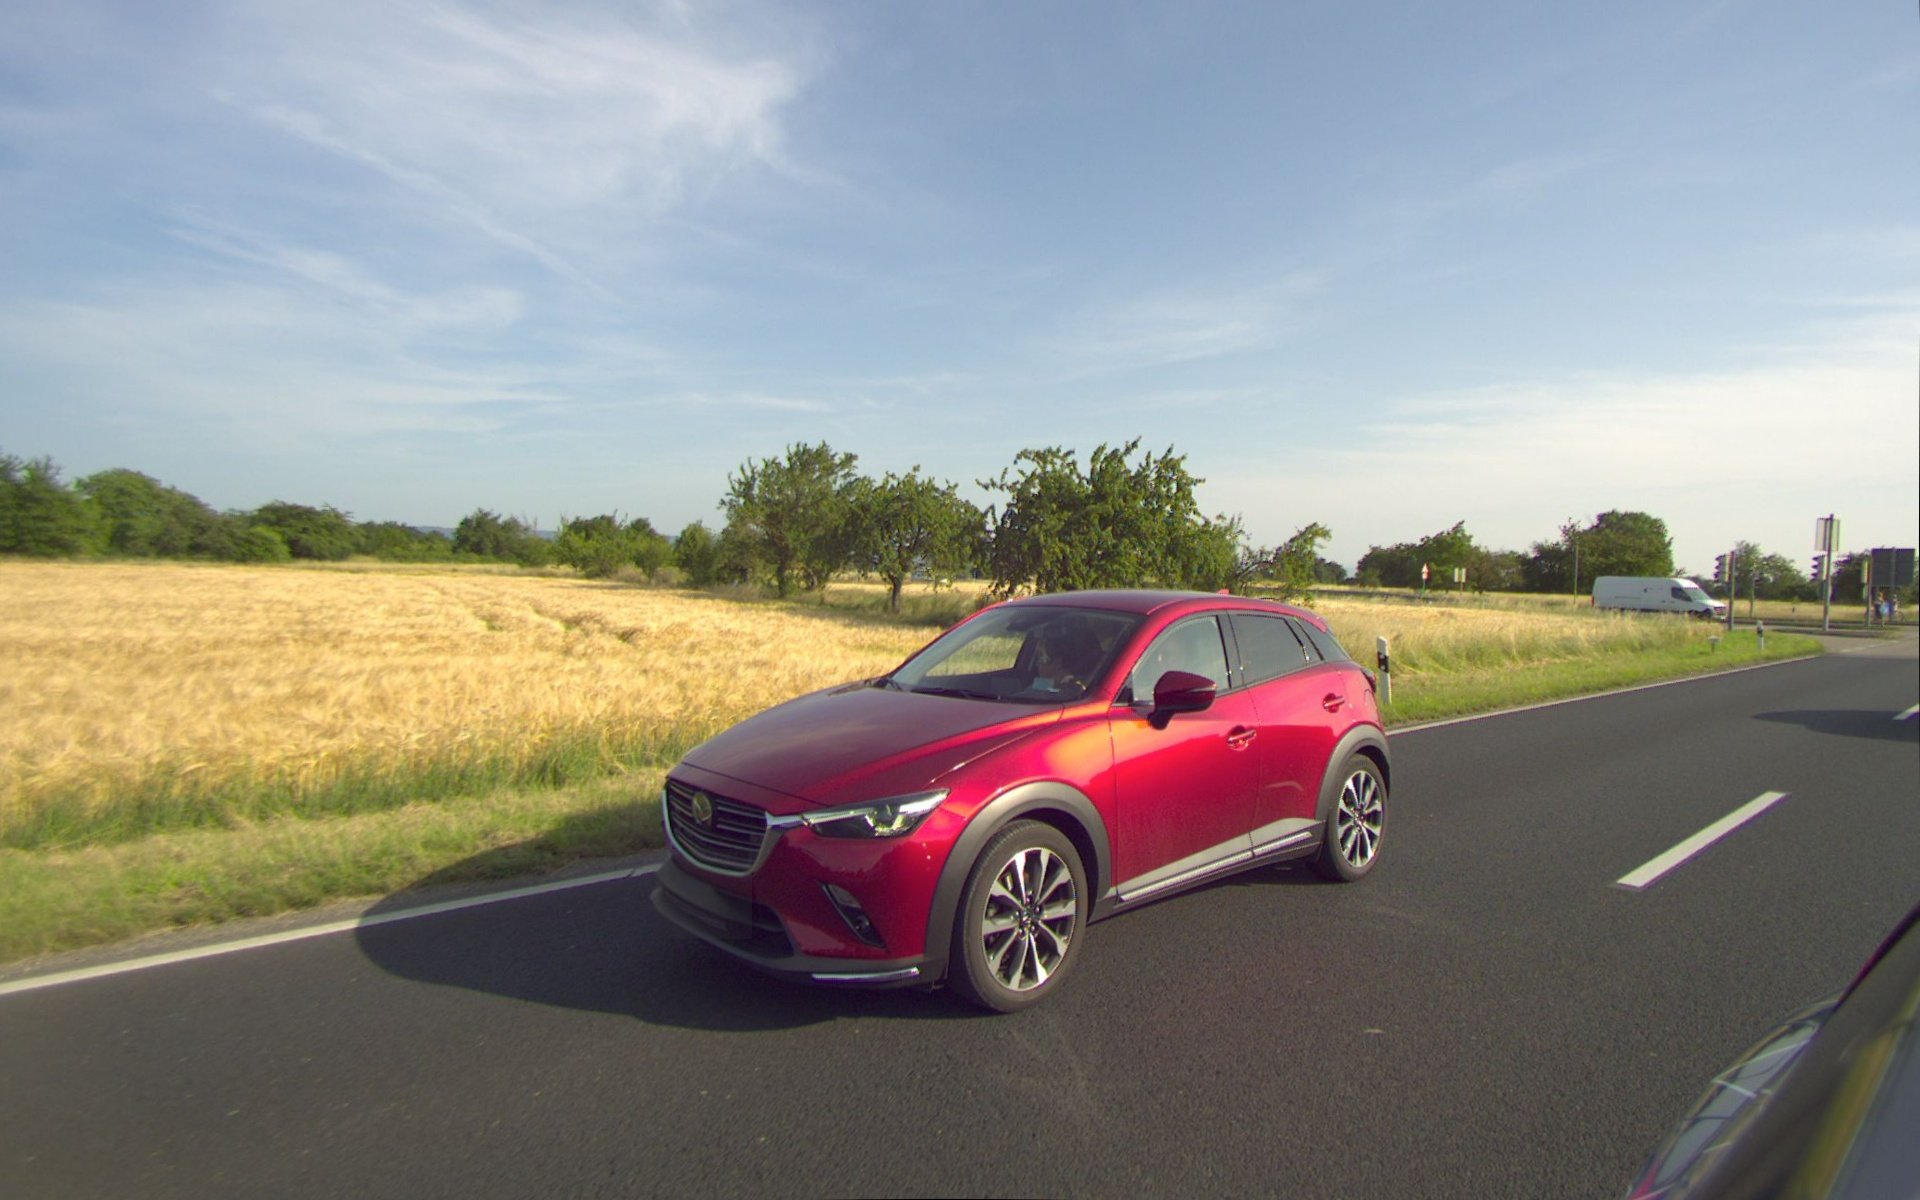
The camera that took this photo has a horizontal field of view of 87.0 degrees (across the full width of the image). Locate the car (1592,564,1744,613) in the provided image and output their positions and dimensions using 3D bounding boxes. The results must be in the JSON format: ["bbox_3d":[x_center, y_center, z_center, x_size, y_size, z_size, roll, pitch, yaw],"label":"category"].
[{"bbox_3d":[41.586,-0.769,59.765,2.049,2.702,7.229,0,2,-27],"label":"car"}]

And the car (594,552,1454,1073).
[{"bbox_3d":[0.674,0.587,5.077,4.423,1.524,1.707,-1,1,-42],"label":"car"}]

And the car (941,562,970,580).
[{"bbox_3d":[-0.512,-3.242,113.925,1.808,1.972,4.007,0,1,-24],"label":"car"}]

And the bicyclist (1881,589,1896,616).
[{"bbox_3d":[56.711,0.131,61.812,0.495,1.632,0.560,0,0,-35],"label":"bicyclist"}]

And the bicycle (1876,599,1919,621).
[{"bbox_3d":[56.964,0.577,61.499,0.519,1.305,1.858,0,1,-38],"label":"bicycle"}]

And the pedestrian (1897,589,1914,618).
[{"bbox_3d":[58.388,0.221,62.516,0.586,1.773,0.624,0,0,-31],"label":"pedestrian"}]
